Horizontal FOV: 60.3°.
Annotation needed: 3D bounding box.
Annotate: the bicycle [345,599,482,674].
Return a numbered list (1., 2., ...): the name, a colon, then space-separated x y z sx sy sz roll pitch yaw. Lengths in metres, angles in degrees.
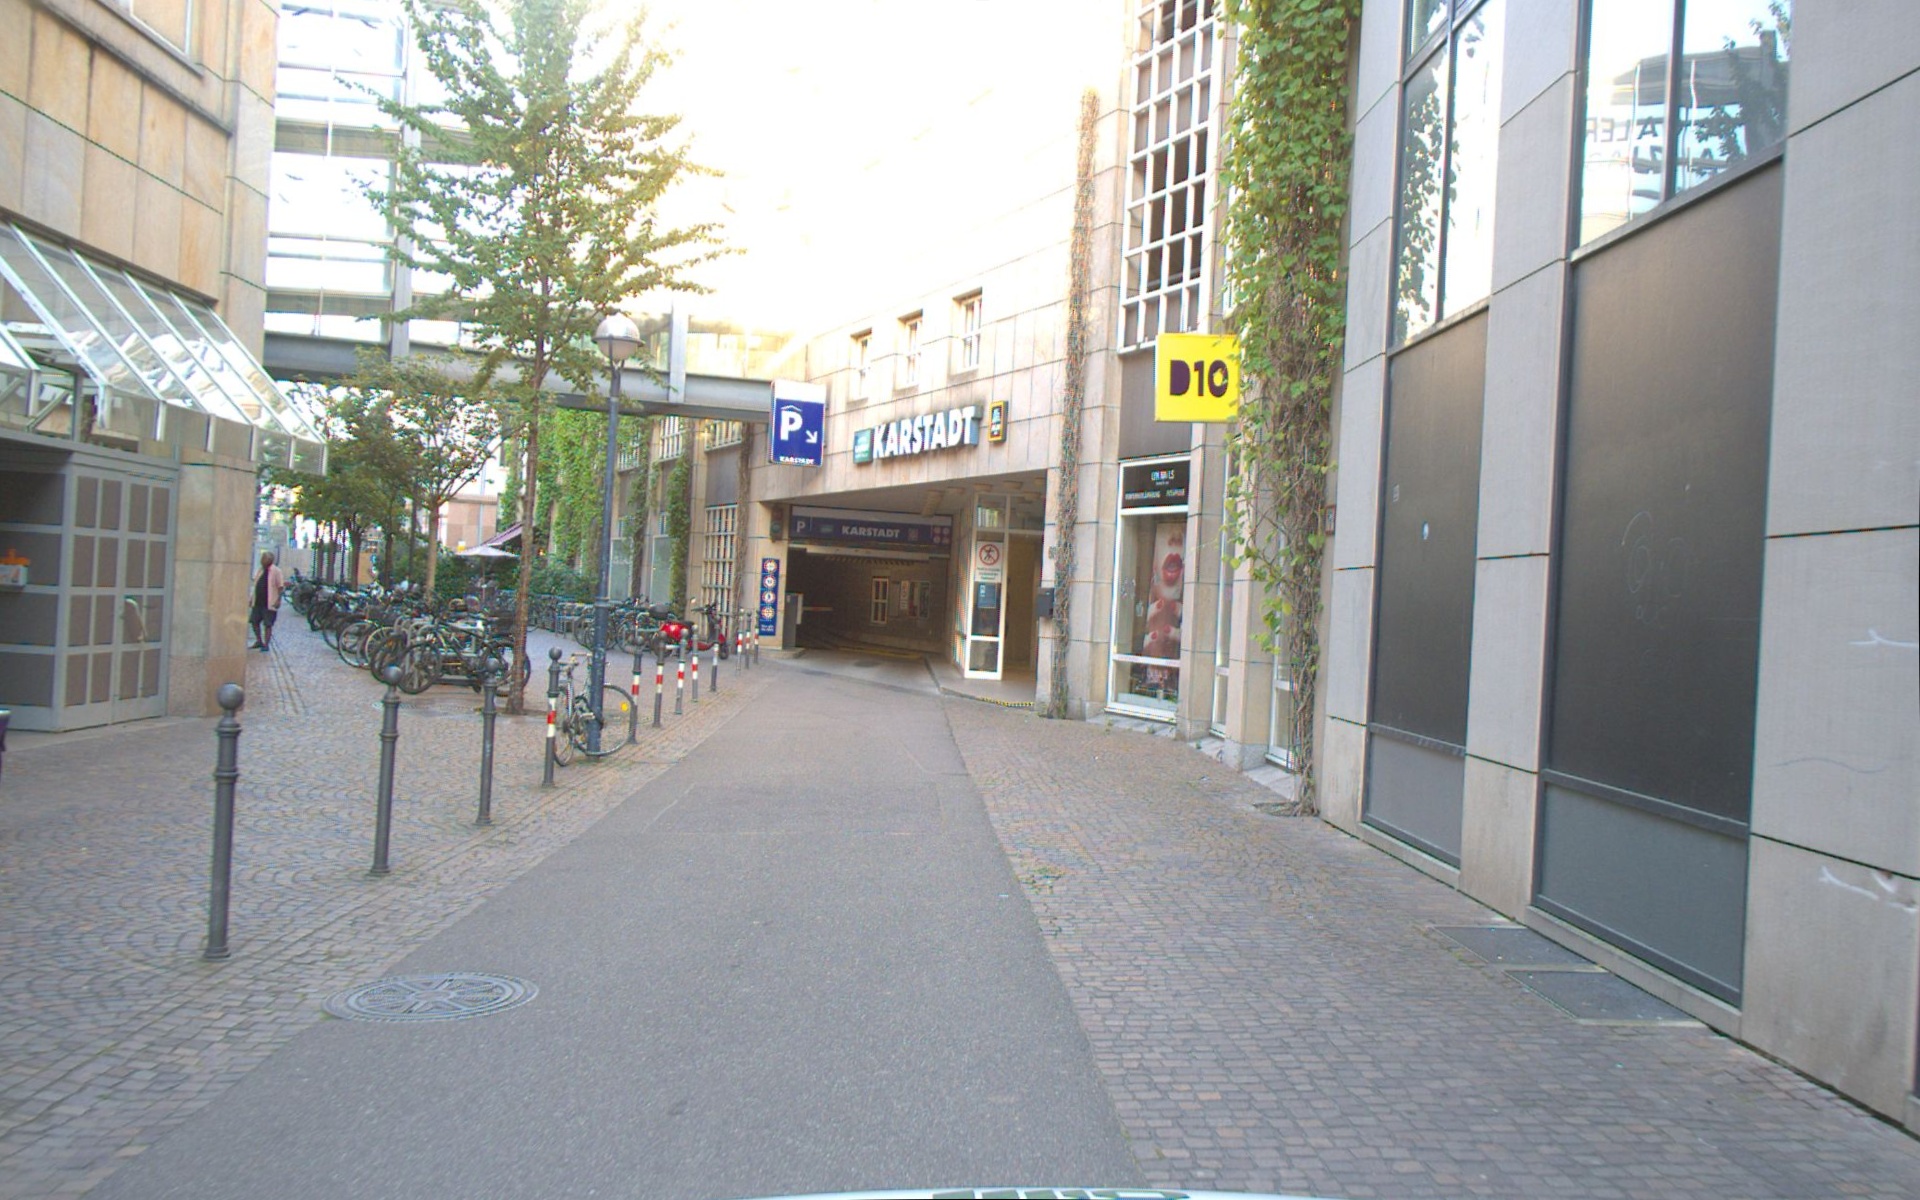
1. bicycle: -8.126 0.546 24.612 1.870 1.070 0.530 2 0 -26

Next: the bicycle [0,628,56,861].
1. bicycle: -5.202 0.725 7.858 0.510 1.157 1.766 2 0 13

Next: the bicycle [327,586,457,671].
1. bicycle: -8.668 0.442 25.253 1.810 1.246 0.530 2 0 -26

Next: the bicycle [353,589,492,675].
1. bicycle: -7.820 0.471 24.100 1.849 1.198 0.530 2 0 -26

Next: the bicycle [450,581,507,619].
1. bicycle: -16.352 -0.008 56.153 1.750 1.211 0.582 2 0 -24

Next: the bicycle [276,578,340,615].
1. bicycle: -21.309 -0.107 54.037 1.880 1.131 0.477 2 0 -26

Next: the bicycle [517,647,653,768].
1. bicycle: -3.332 0.931 14.832 0.482 0.955 1.660 4 0 12

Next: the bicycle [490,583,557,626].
1. bicycle: -12.455 0.130 47.219 1.750 1.134 0.539 2 0 -24

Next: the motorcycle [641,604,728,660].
1. motorcycle: -5.549 0.643 33.287 1.641 1.069 0.460 2 0 -24

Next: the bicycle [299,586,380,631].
1. bicycle: -14.934 0.211 39.816 1.757 1.037 0.477 2 0 -26

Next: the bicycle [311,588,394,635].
1. bicycle: -14.326 0.269 39.015 1.757 1.037 0.477 2 0 -26

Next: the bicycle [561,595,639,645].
1. bicycle: -8.725 0.479 40.074 1.750 1.134 0.539 2 0 -24

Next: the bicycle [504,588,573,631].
1. bicycle: -11.589 0.264 45.467 1.750 1.134 0.539 2 0 -24

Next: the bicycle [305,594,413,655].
1. bicycle: -11.131 0.454 30.650 1.802 1.061 0.530 2 0 -26

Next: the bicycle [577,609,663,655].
1. bicycle: -7.323 0.686 35.658 1.750 0.919 0.460 2 0 -24

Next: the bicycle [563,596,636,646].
1. bicycle: -8.184 0.479 37.534 1.519 1.067 0.571 2 0 -24

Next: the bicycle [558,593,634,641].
1. bicycle: -9.040 0.423 41.129 1.750 1.134 0.539 2 0 -24

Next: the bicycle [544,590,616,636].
1. bicycle: -9.955 0.347 43.328 1.750 1.134 0.539 2 0 -24

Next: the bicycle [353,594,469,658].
1. bicycle: -9.618 0.454 28.983 1.853 1.061 0.530 2 0 -26

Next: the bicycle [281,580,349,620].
1. bicycle: -19.505 -0.005 50.024 1.880 1.131 0.477 2 0 -26

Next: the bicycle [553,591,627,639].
1. bicycle: -9.461 0.385 42.307 1.750 1.134 0.539 2 0 -24

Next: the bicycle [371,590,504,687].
1. bicycle: -7.048 0.521 22.330 1.633 1.252 0.530 2 0 -26

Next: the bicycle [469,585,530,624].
1. bicycle: -14.243 0.154 51.138 1.748 1.134 0.539 2 0 -21

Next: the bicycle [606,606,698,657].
1. bicycle: -6.493 0.663 34.857 1.823 0.999 0.460 2 0 -24

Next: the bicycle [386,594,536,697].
1. bicycle: -6.348 0.582 21.063 1.744 1.252 0.530 2 0 -26

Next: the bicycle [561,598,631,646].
1. bicycle: -8.564 0.521 38.909 1.519 1.067 0.571 2 0 -24

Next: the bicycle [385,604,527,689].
1. bicycle: -7.059 0.657 23.192 1.813 1.142 0.530 2 0 -26

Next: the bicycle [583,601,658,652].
1. bicycle: -7.515 0.586 36.597 1.519 1.067 0.571 2 0 -24

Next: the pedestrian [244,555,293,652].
1. pedestrian: -11.670 0.054 27.904 0.689 1.610 0.713 2 0 -25
